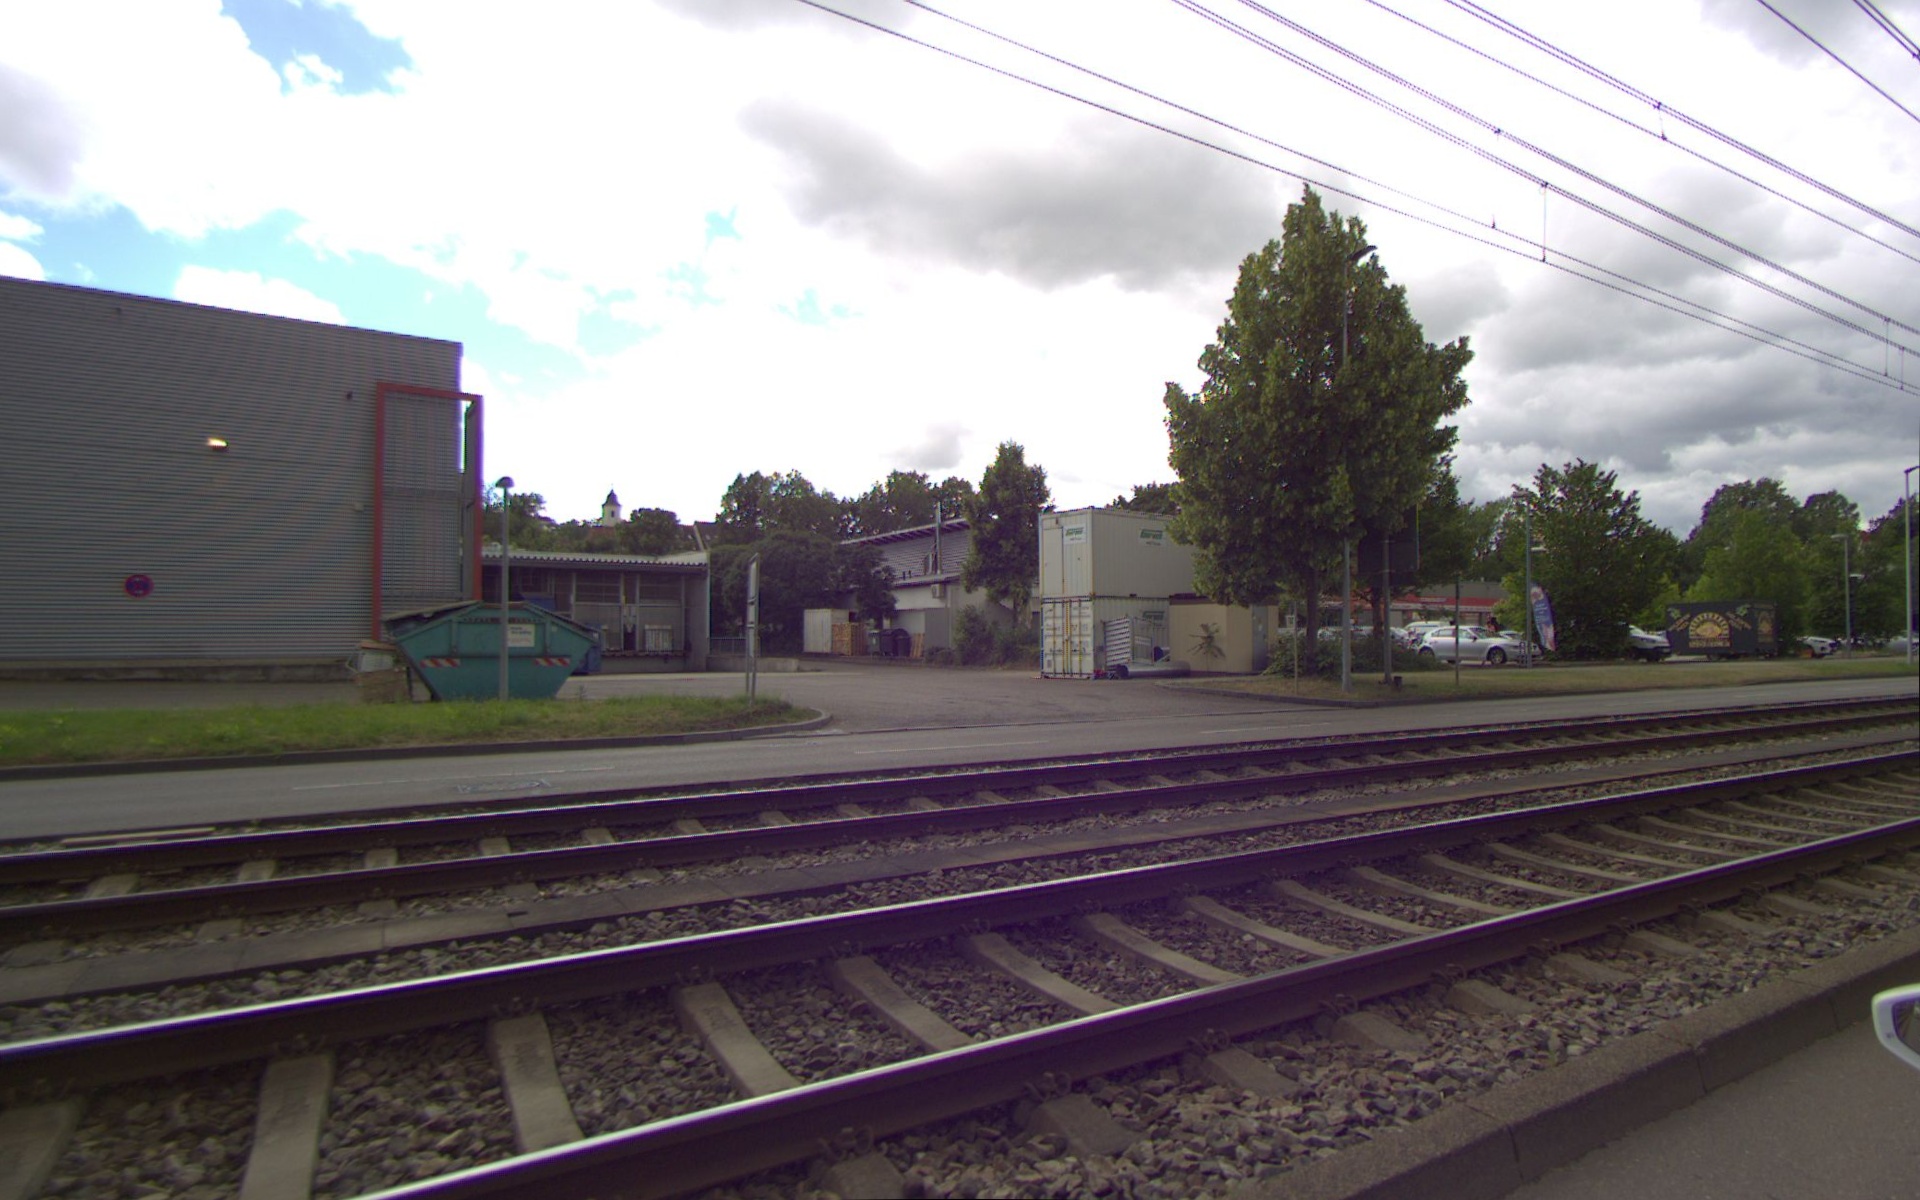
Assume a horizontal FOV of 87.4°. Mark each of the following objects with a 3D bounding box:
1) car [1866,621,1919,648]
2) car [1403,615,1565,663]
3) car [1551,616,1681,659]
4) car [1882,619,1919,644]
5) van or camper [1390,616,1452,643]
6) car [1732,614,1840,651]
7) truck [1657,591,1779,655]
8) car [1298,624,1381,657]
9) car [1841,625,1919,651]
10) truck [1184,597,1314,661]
[{"bbox_3d":[58.062,2.084,61.173,1.859,1.656,3.963,0,-2,-34],"label":"car"},{"bbox_3d":[19.640,1.439,37.883,2.619,1.650,4.761,0,-1,-29],"label":"car"},{"bbox_3d":[27.684,1.575,42.516,1.973,1.750,4.199,0,-2,-31],"label":"car"},{"bbox_3d":[61.734,2.011,64.088,1.859,1.620,3.963,0,-2,-34],"label":"car"},{"bbox_3d":[37.375,2.394,81.564,1.803,2.173,4.235,1,-2,-34],"label":"van or camper"},{"bbox_3d":[43.062,1.692,52.438,1.859,1.821,3.963,0,-2,-34],"label":"car"},{"bbox_3d":[35.471,1.105,47.062,2.350,2.859,3.965,0,-2,-32],"label":"truck"},{"bbox_3d":[19.199,2.032,50.981,1.669,1.617,3.979,0,-2,-23],"label":"car"},{"bbox_3d":[55.448,2.237,59.733,1.662,1.491,4.284,0,-1,-32],"label":"car"},{"bbox_3d":[11.676,1.153,40.462,5.202,2.414,1.984,0,-2,-31],"label":"truck"}]
